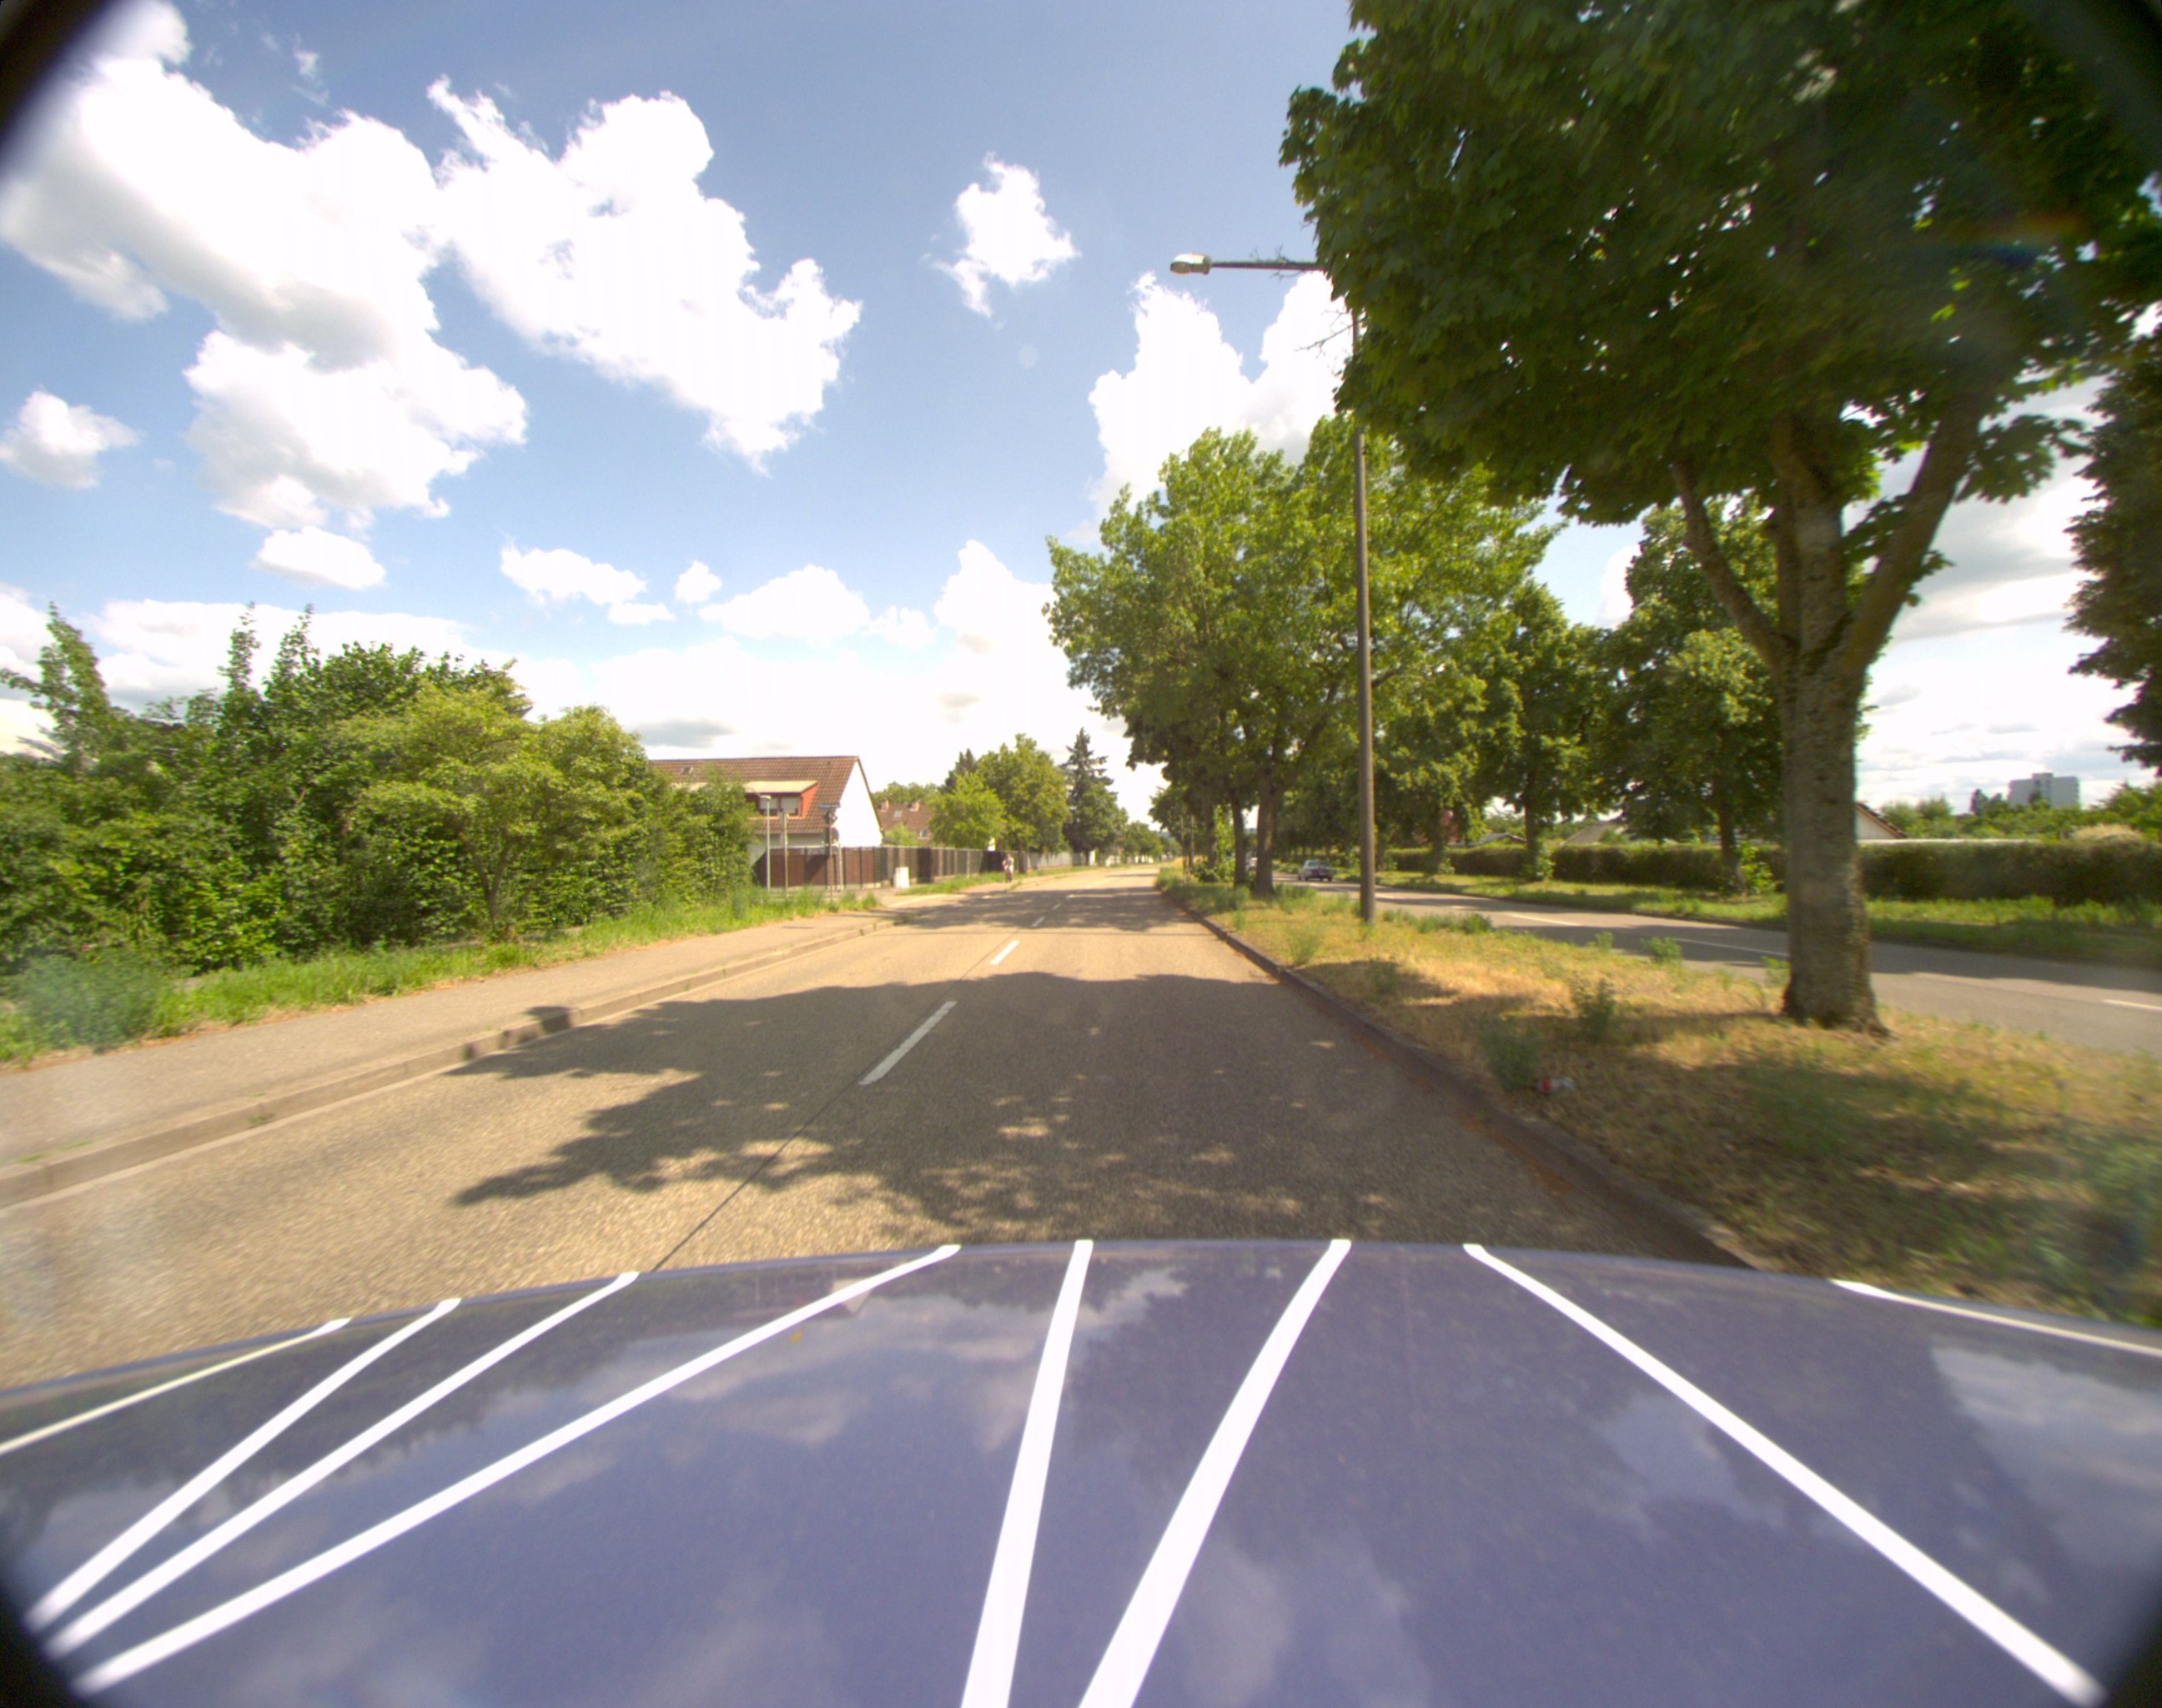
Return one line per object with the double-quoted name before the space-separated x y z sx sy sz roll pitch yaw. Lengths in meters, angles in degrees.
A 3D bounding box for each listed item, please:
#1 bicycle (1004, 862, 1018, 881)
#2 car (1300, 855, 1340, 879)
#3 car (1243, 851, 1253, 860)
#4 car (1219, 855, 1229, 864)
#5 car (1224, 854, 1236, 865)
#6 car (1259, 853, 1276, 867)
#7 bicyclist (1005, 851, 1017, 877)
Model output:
"bicycle" -4.362 1.080 47.352 0.627 1.145 1.739 -1 0 2
"car" 15.915 0.835 50.823 1.740 1.577 4.114 1 0 6
"car" 31.680 0.308 143.935 1.739 1.577 4.116 1 0 11
"car" 25.539 1.013 135.476 1.739 1.577 4.116 1 0 11
"car" 22.207 0.799 112.988 1.739 1.577 4.116 1 0 11
"car" 21.812 0.741 88.789 1.739 1.577 4.116 1 0 11
"bicyclist" -4.371 0.632 47.304 0.620 1.625 0.700 -1 1 2
